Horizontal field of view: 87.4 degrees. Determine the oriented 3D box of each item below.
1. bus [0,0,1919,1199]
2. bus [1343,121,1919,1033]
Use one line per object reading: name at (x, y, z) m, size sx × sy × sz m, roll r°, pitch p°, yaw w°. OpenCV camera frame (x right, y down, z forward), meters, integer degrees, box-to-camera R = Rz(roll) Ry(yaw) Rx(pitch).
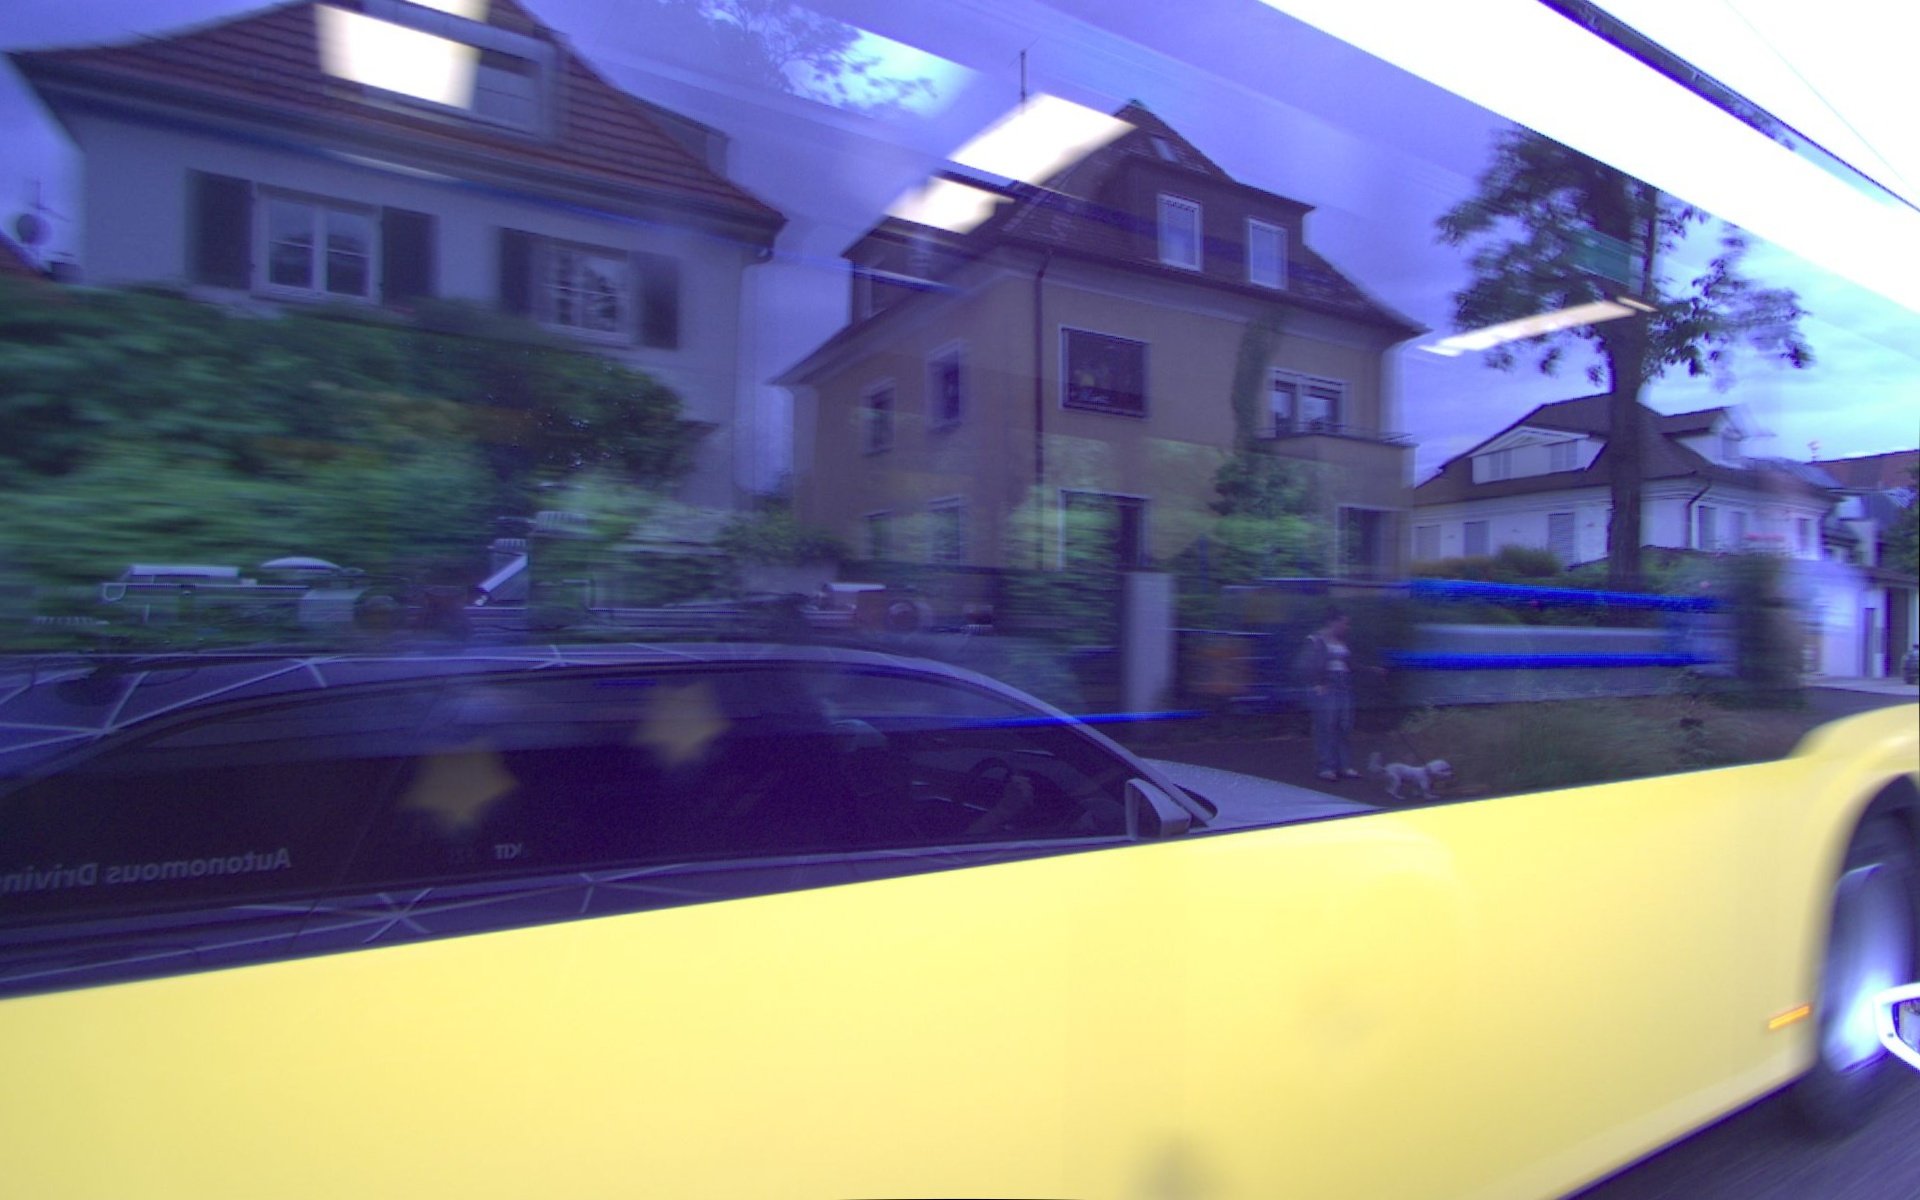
bus at (-1.021, -0.021, 2.090) m, size 9.125 × 3.085 × 2.630 m, roll 2°, pitch -1°, yaw -31°
bus at (6.448, 0.019, 6.698) m, size 8.538 × 3.200 × 2.581 m, roll 2°, pitch -1°, yaw -31°
